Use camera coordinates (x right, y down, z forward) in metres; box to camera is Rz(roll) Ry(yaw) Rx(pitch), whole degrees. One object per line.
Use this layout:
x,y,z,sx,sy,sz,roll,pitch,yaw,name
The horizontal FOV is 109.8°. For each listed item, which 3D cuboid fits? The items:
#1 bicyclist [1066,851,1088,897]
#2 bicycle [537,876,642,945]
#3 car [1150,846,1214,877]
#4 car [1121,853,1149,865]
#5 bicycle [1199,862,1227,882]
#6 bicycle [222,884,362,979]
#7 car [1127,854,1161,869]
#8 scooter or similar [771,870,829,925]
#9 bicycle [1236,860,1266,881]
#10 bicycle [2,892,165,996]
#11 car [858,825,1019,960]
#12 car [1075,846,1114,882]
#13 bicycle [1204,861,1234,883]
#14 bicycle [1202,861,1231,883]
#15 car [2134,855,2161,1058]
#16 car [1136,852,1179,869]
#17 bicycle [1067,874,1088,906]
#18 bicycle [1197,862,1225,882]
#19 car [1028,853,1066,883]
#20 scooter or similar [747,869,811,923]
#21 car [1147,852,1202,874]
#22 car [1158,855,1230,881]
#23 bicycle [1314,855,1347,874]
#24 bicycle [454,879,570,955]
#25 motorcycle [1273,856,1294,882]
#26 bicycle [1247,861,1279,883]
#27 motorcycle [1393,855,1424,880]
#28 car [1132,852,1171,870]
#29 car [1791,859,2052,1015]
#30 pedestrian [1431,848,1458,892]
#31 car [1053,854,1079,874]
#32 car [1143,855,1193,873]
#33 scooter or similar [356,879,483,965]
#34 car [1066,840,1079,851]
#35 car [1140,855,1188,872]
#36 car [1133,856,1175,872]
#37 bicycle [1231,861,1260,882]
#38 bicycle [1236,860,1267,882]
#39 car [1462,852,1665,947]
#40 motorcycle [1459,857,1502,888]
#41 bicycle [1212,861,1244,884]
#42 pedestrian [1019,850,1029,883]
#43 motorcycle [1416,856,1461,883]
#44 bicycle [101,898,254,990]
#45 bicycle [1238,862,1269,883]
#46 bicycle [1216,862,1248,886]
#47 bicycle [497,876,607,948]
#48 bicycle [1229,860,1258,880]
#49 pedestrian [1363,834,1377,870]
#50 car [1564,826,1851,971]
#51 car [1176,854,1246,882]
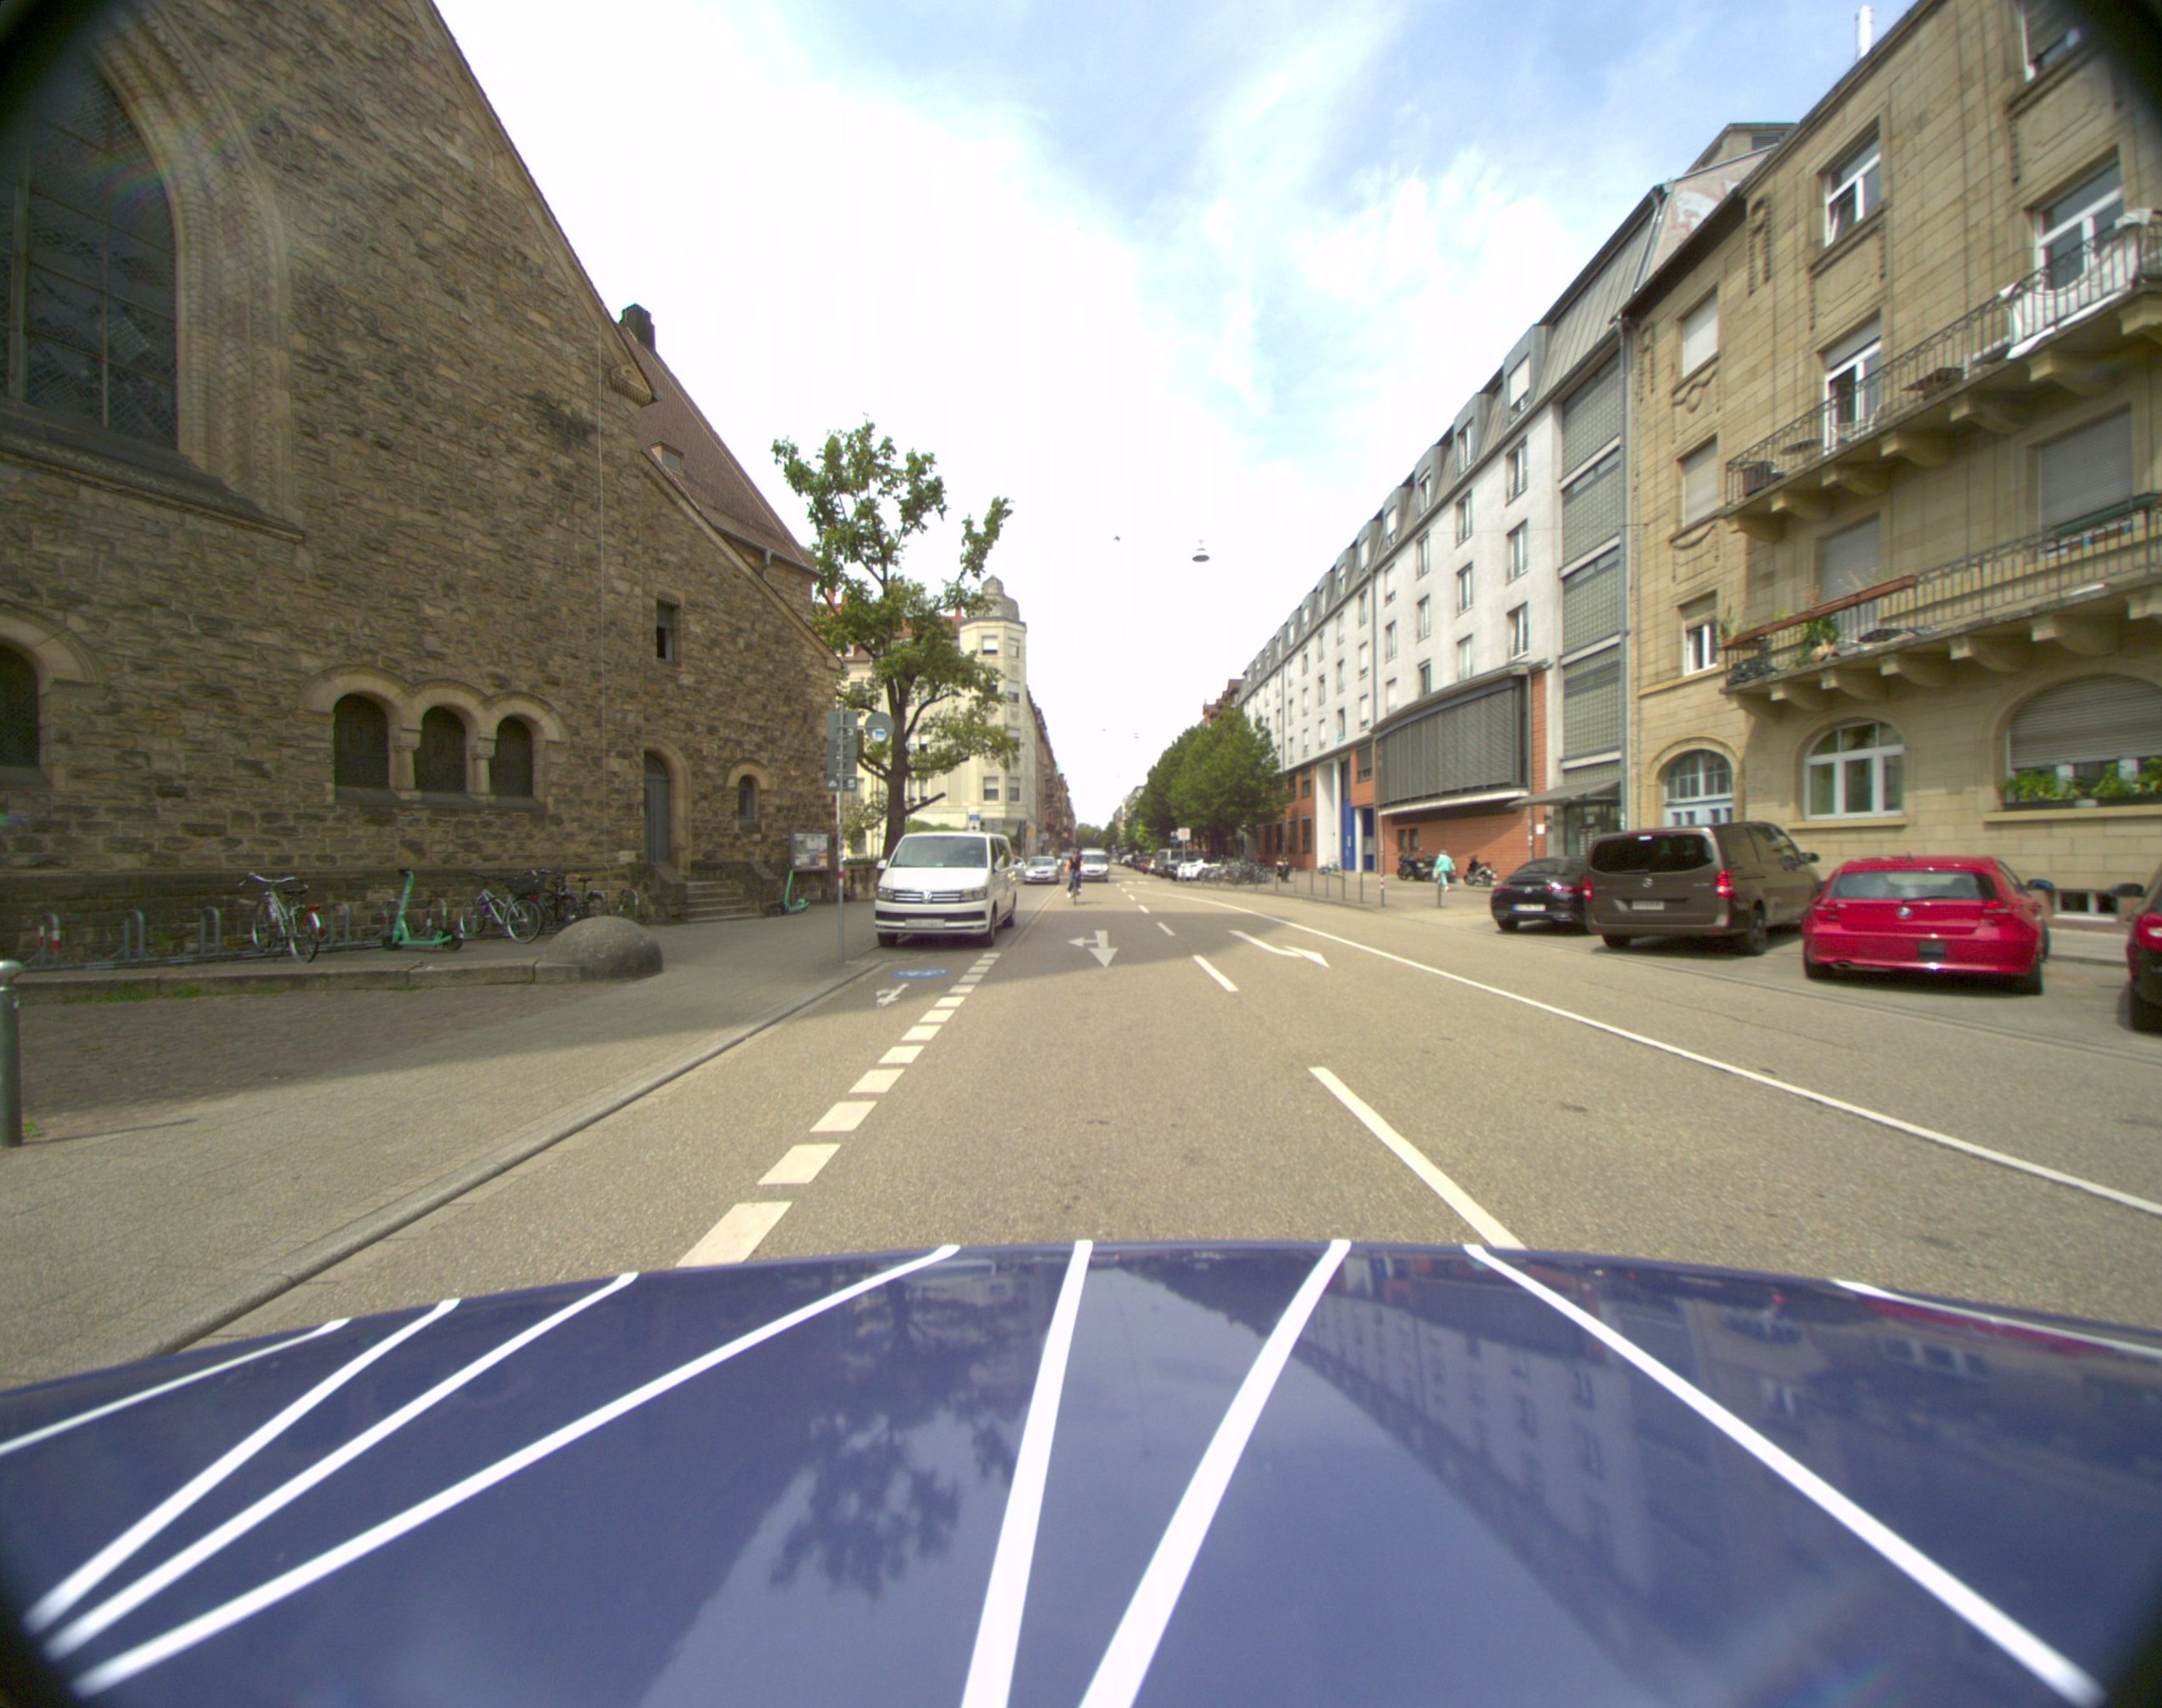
-0.120,0.618,23.859,0.649,1.408,1.094,-1,0,2,bicyclist
-8.472,0.946,13.087,1.778,1.105,0.547,0,0,20,bicycle
7.029,0.510,52.670,4.011,1.986,1.857,-3,1,-30,car
8.176,0.706,114.430,4.012,1.746,1.687,-1,-1,-32,car
7.067,0.953,40.685,1.409,1.020,0.402,-3,0,3,bicycle
-10.054,0.956,9.676,1.778,1.105,0.547,0,0,20,bicycle
7.975,0.910,96.344,4.012,1.846,1.687,-1,-1,-32,car
-6.553,0.987,17.795,0.545,1.200,1.444,0,0,14,scooter or similar
8.572,0.814,38.393,1.409,1.020,0.402,-1,0,3,bicycle
-10.787,0.936,8.212,1.778,0.952,0.547,2,1,20,bicycle
-2.359,0.589,14.038,2.019,2.017,5.123,1,0,0,car
0.844,0.561,43.663,1.942,1.913,4.008,-1,-1,5,car
7.031,0.903,38.770,1.409,1.032,0.402,-3,0,3,bicycle
7.037,0.926,39.412,1.409,1.020,0.402,-3,0,3,bicycle
10.233,0.771,6.302,4.004,1.494,1.627,-1,0,-34,car
7.497,0.662,74.252,4.012,1.558,1.687,-1,-1,-32,car
-0.105,1.103,23.788,0.586,0.927,1.783,-1,-1,2,bicycle
7.085,1.001,41.493,1.409,1.020,0.402,-3,0,3,bicycle
-1.724,0.703,39.706,1.759,1.460,4.418,0,0,0,car
-7.163,0.972,18.099,0.545,1.200,1.483,0,0,21,scooter or similar
7.188,0.659,58.261,4.012,1.605,1.708,-1,-1,-32,car
7.022,0.838,46.906,4.324,1.460,1.713,-1,0,-33,car
14.453,0.587,44.037,1.613,0.920,0.932,-6,-1,13,bicycle
-8.913,0.955,11.897,1.778,1.105,0.547,0,0,20,bicycle
9.751,0.708,36.588,0.585,1.166,1.780,-2,0,3,motorcycle
8.661,0.839,36.127,1.409,1.020,0.402,-1,0,3,bicycle
14.297,0.595,33.213,0.585,1.042,1.657,-2,0,0,motorcycle
7.773,0.742,83.221,4.052,1.846,1.687,-1,-1,-32,car
10.087,0.796,9.032,4.020,1.401,1.792,-1,0,-38,car
12.368,0.543,25.871,0.662,1.477,0.509,-1,0,-1,pedestrian
-1.288,0.908,68.053,1.853,1.661,4.008,-1,-1,5,car
7.352,0.816,63.892,4.012,1.381,1.592,-1,-1,-32,car
-9.402,0.931,10.798,1.778,1.133,0.547,0,0,20,scooter or similar
-1.285,-1.272,113.236,1.854,1.505,4.006,-1,-1,1,car
7.230,0.824,66.081,4.012,1.445,1.687,-1,-1,-32,car
7.436,1.012,76.897,4.012,1.558,1.687,-1,-1,-32,car
8.498,0.898,39.213,1.409,1.020,0.402,-1,0,3,bicycle
8.501,0.841,37.909,1.409,1.020,0.402,-1,0,3,bicycle
9.757,0.807,15.210,4.679,1.401,1.895,-4,0,-38,car
14.211,0.644,27.092,0.585,1.042,1.794,-2,0,2,motorcycle
7.122,0.902,36.766,1.409,1.032,0.402,-3,0,3,bicycle
-2.917,0.642,39.191,0.468,1.725,0.410,0,0,0,pedestrian
14.451,0.617,30.793,0.585,1.042,1.965,-2,0,-10,motorcycle
-10.504,1.012,8.830,1.778,0.951,0.547,0,0,20,bicycle
8.472,0.905,37.373,1.409,1.020,0.402,-1,0,3,bicycle
7.133,0.927,35.875,1.409,1.032,0.402,-3,0,3,bicycle
-8.681,0.933,12.470,1.771,1.105,0.547,0,0,20,bicycle
8.502,0.847,39.698,1.409,1.020,0.402,-1,0,3,bicycle
16.281,-0.090,42.796,0.729,2.002,0.783,0,0,20,pedestrian
10.229,0.566,12.275,5.280,1.899,2.116,-1,0,-33,car
7.603,0.784,44.411,4.013,1.536,1.598,-1,0,-33,car
